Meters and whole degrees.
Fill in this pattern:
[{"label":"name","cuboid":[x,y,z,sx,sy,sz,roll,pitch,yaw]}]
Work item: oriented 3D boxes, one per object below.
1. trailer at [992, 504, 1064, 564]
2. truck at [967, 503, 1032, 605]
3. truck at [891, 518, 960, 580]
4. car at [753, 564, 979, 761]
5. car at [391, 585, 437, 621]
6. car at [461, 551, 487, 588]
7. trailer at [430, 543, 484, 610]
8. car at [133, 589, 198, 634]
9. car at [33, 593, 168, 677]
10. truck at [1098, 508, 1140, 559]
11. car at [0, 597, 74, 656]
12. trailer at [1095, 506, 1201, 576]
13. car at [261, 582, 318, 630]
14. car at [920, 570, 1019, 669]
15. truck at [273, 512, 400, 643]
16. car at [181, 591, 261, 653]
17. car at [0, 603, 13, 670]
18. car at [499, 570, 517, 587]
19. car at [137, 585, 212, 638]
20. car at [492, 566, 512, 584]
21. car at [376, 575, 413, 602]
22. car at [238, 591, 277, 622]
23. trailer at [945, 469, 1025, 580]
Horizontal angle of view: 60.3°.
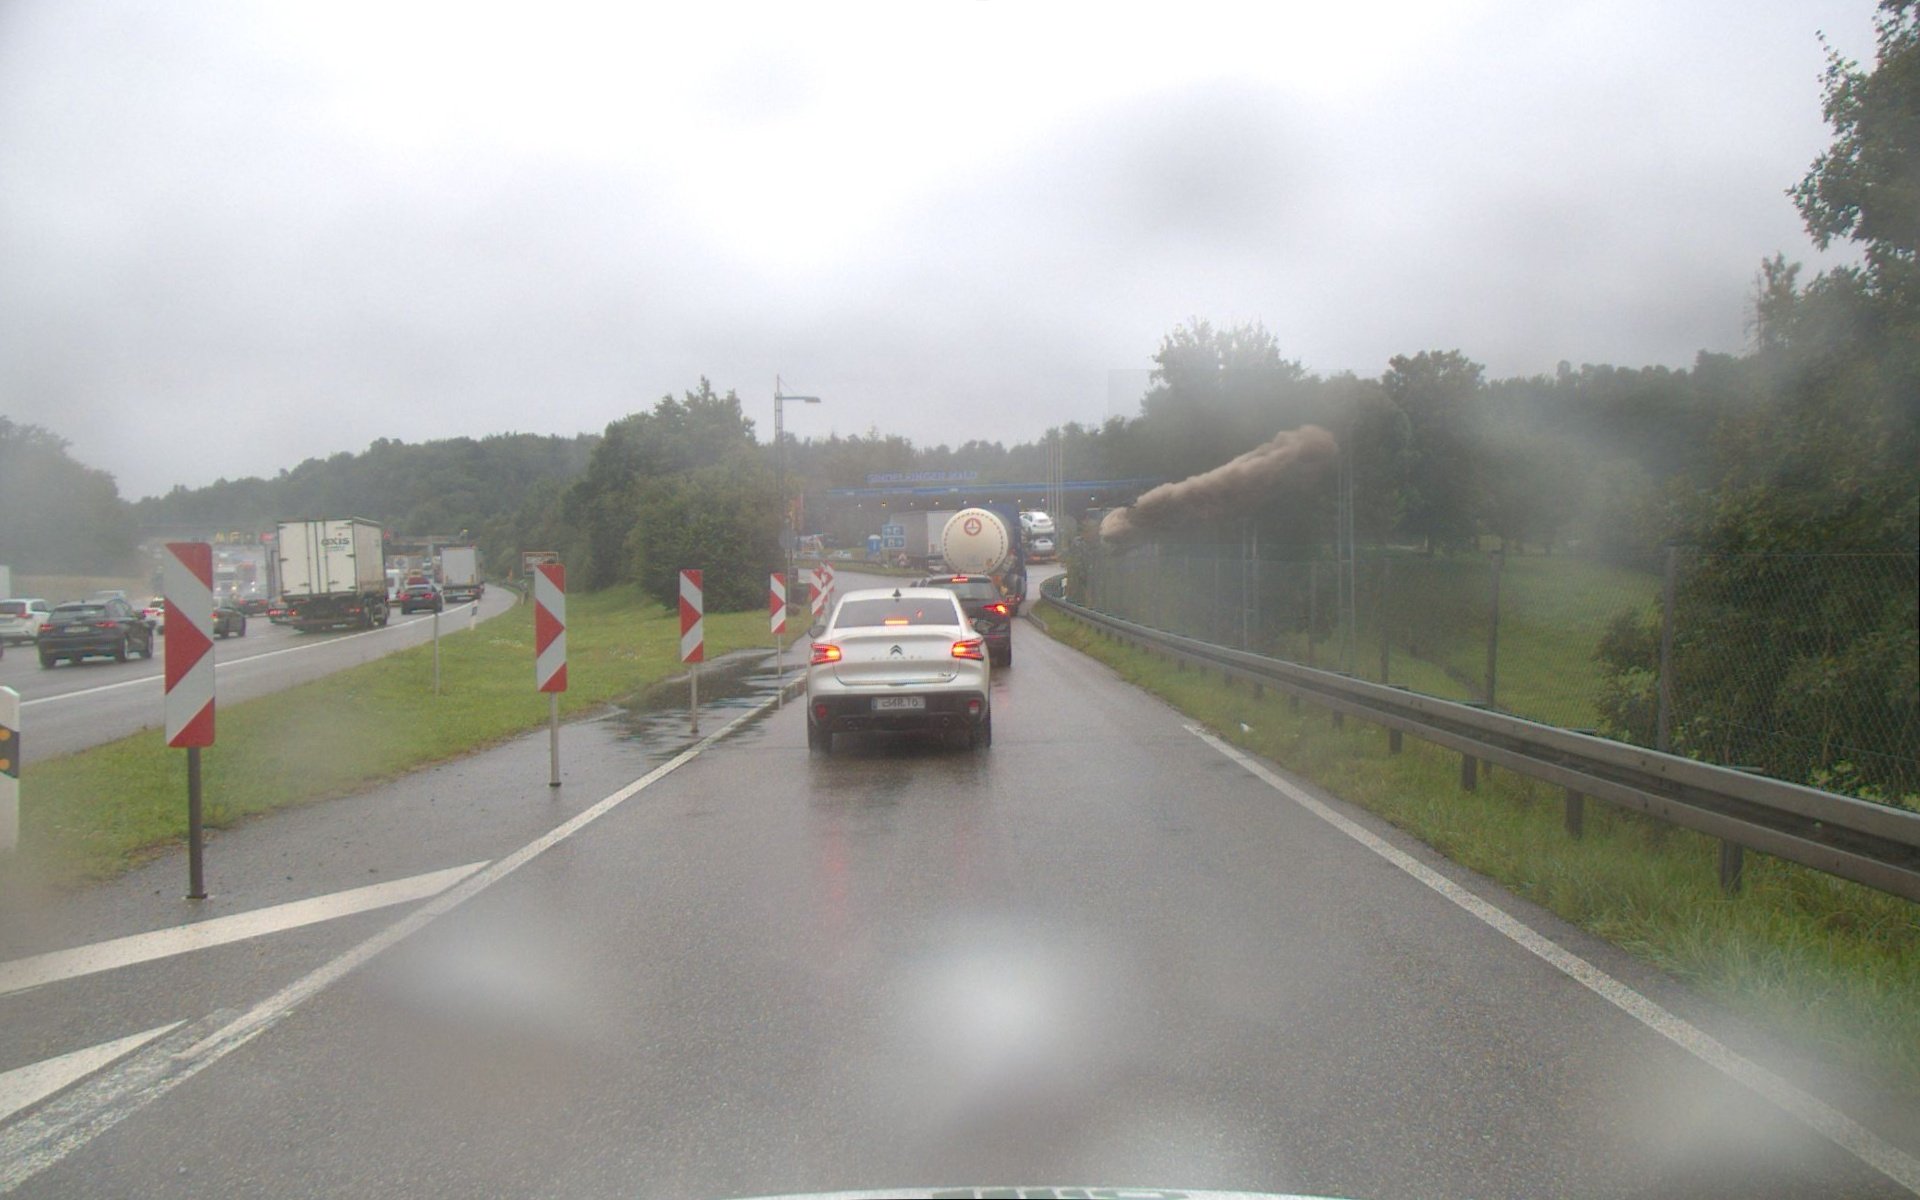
[{"label":"trailer","cuboid":[5.006,-5.003,125.027,3.157,4.261,11.506,-1,3,-9]},{"label":"truck","cuboid":[1.506,-1.726,61.573,2.009,3.592,4.750,-1,2,5]},{"label":"truck","cuboid":[-2.463,-3.512,112.791,2.329,3.940,12.421,-3,3,-11]},{"label":"car","cuboid":[-0.889,0.523,16.375,1.953,1.708,3.998,0,1,-2]},{"label":"car","cuboid":[-29.428,0.149,89.246,1.959,1.847,3.986,-1,1,-13]},{"label":"car","cuboid":[-47.900,-2.943,162.996,2.335,3.546,4.791,1,0,-18]},{"label":"trailer","cuboid":[-38.396,-1.694,125.952,3.494,4.692,12.058,-3,1,-18]},{"label":"car","cuboid":[-39.033,0.531,81.314,1.960,2.048,3.986,-3,1,-13]},{"label":"car","cuboid":[-19.780,0.755,38.207,1.745,1.766,3.835,-3,1,-12]},{"label":"truck","cuboid":[12.521,-5.269,130.508,2.379,3.871,3.995,-3,3,-7]},{"label":"car","cuboid":[-34.414,0.952,61.029,1.960,2.048,3.987,-3,1,-13]},{"label":"trailer","cuboid":[10.343,-3.305,89.889,2.090,3.499,10.242,-1,3,28]},{"label":"car","cuboid":[-31.024,0.275,76.608,1.962,2.048,3.982,-3,1,-16]},{"label":"car","cuboid":[0.148,0.321,30.535,1.707,1.696,3.999,0,0,-1]},{"label":"truck","cuboid":[-23.191,-0.789,62.177,2.801,4.367,11.802,-2,0,-13]},{"label":"car","cuboid":[-25.537,0.714,57.298,1.758,2.005,4.319,-2,1,-14]},{"label":"car","cuboid":[-26.293,1.013,42.943,1.745,1.766,4.087,-2,1,-12]},{"label":"car","cuboid":[-58.284,-2.764,213.179,1.964,2.049,3.977,1,0,-20]},{"label":"car","cuboid":[-33.108,0.447,69.801,1.960,2.048,3.986,-3,1,-13]},{"label":"car","cuboid":[-53.759,-2.922,194.012,1.964,2.049,3.977,1,0,-20]},{"label":"car","cuboid":[-39.972,-0.801,116.966,1.958,1.847,3.989,0,1,-11]},{"label":"car","cuboid":[-43.895,0.365,103.440,1.670,1.818,3.771,-2,1,-15]},{"label":"trailer","cuboid":[0.959,-2.478,55.040,1.938,3.280,10.330,-1,2,5]}]
